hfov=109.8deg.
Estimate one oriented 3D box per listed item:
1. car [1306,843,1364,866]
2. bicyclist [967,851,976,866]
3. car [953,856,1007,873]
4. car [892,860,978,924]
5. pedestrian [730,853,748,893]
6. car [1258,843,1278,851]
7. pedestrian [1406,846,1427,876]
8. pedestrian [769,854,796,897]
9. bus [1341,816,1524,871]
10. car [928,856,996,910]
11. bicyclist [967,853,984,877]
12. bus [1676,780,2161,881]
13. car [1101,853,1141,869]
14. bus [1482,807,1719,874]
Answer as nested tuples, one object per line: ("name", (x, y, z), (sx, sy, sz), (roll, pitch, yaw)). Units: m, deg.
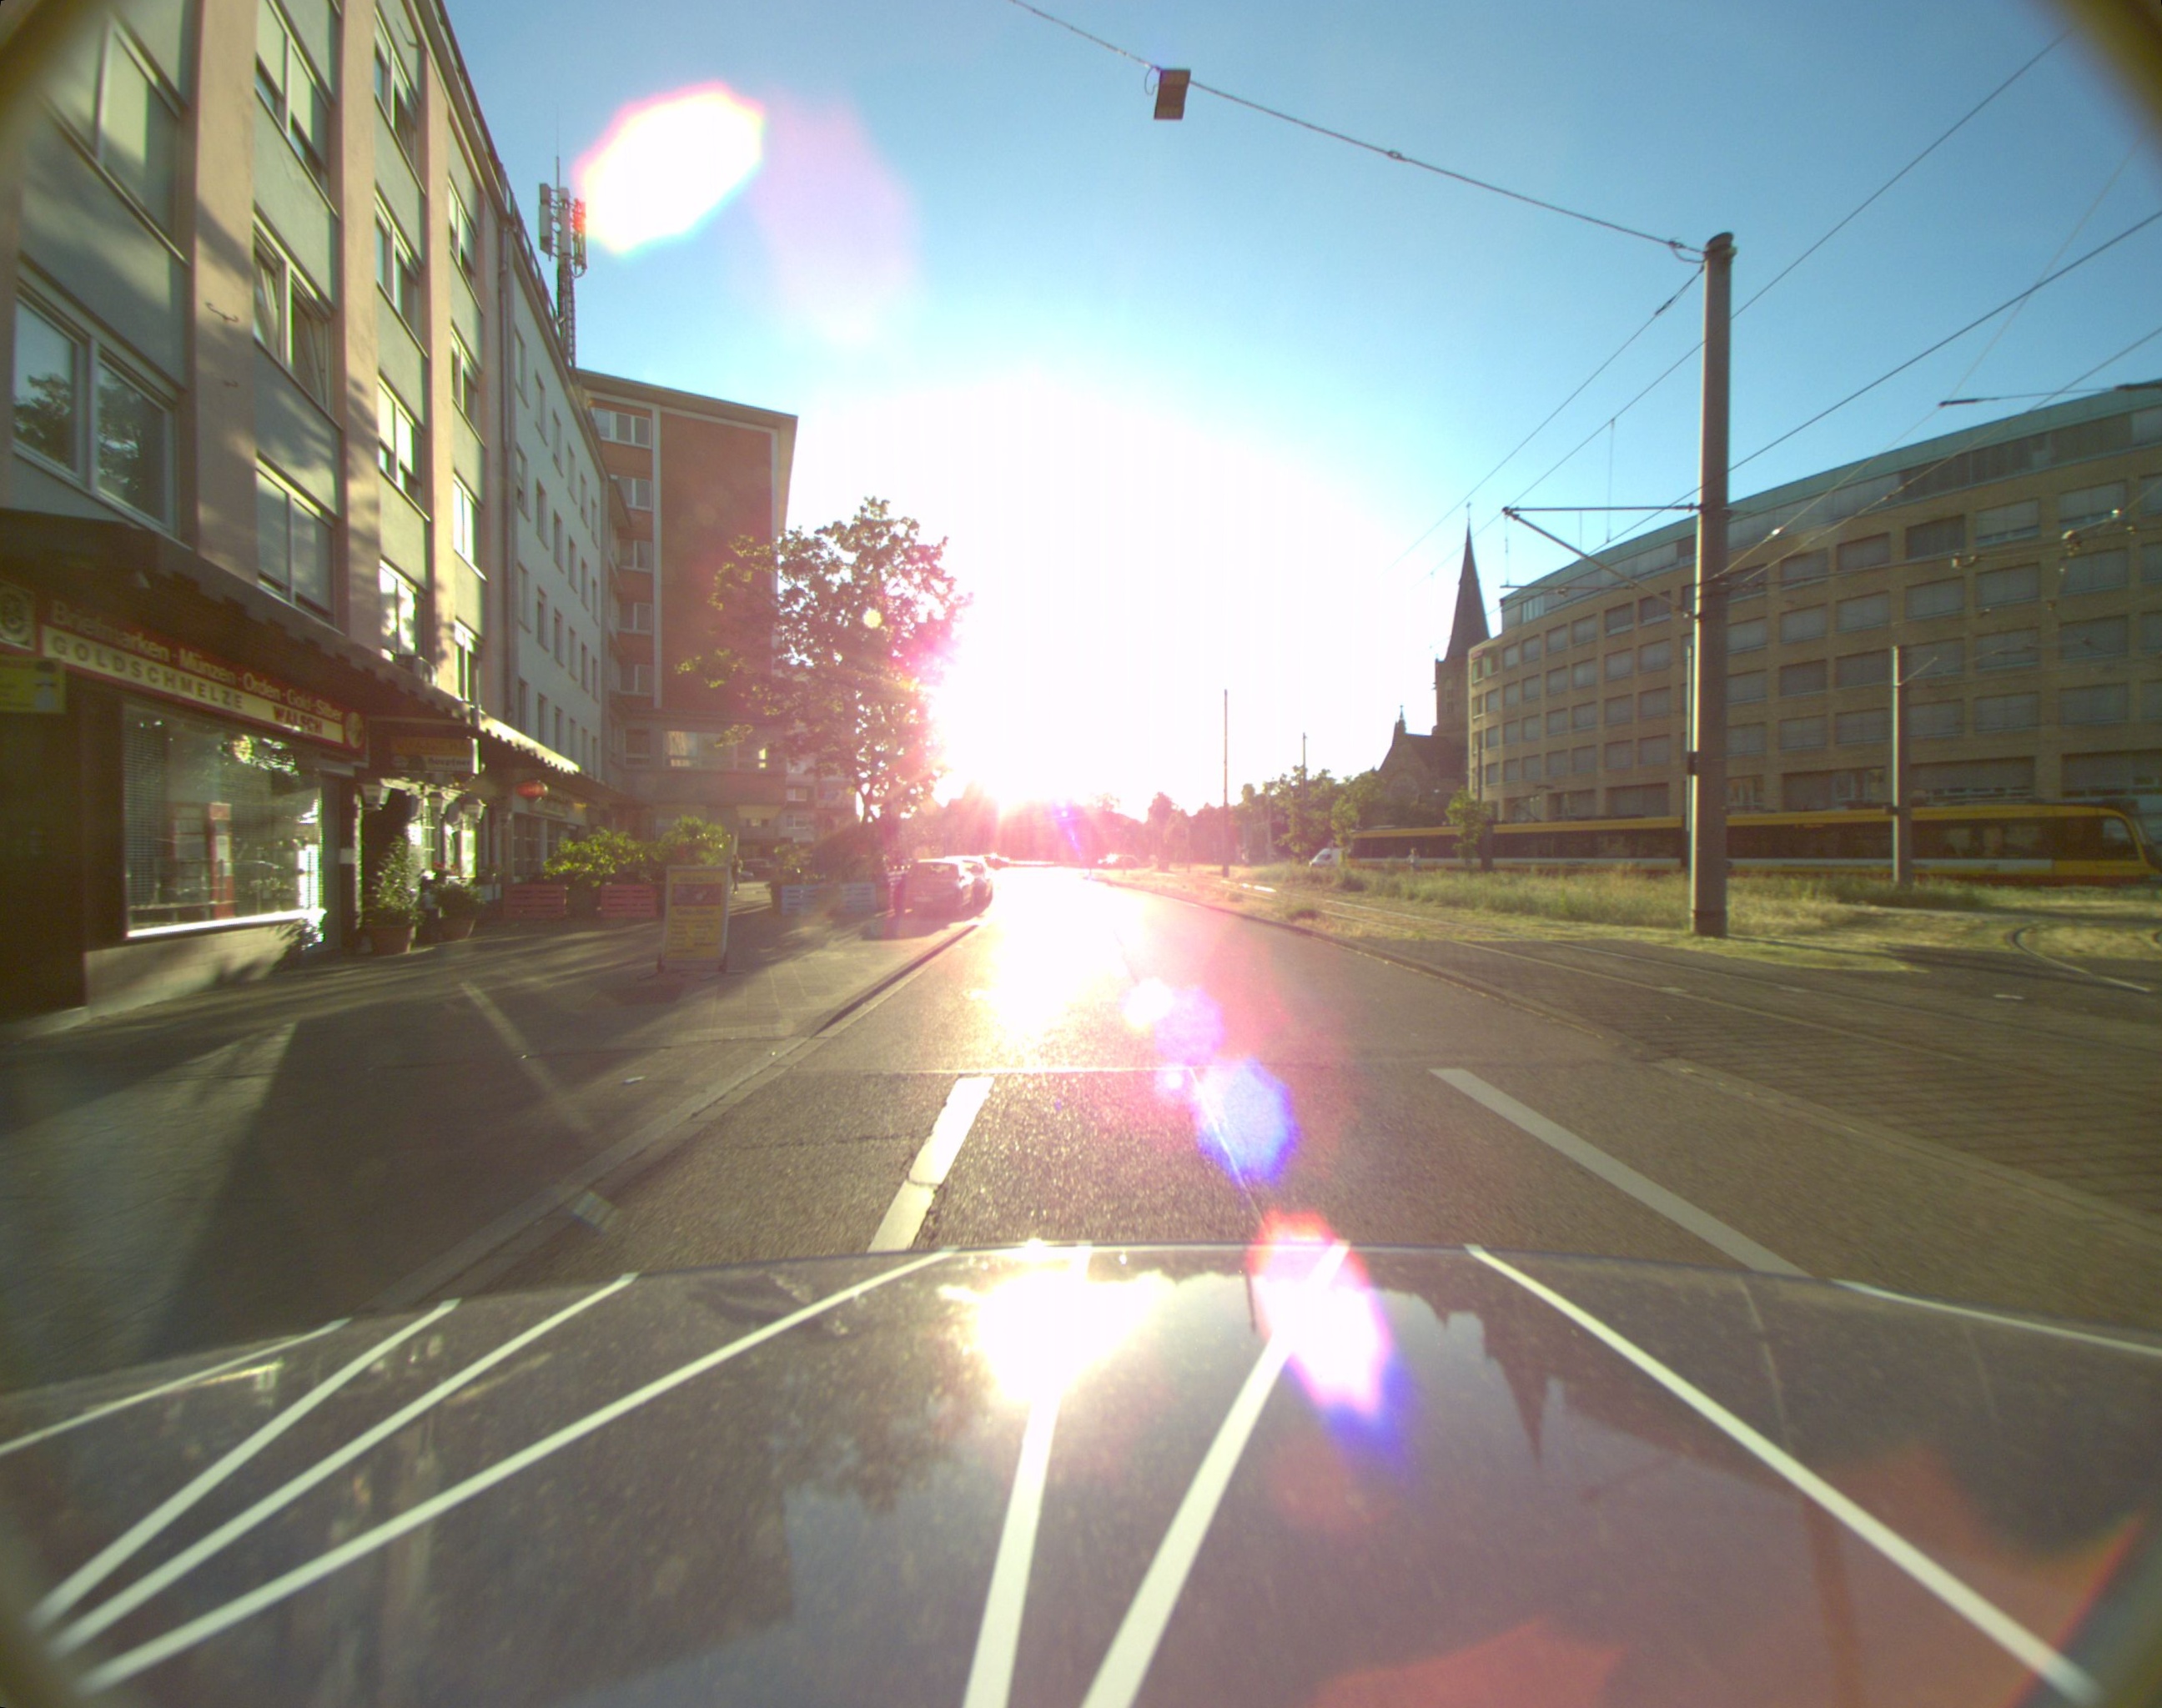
("car", (31.931, 0.032, 95.466), (7.210, 2.861, 2.304), (-1, 0, -22))
("bicyclist", (-11.900, 0.482, 82.600), (0.734, 1.559, 0.822), (-2, 1, -18))
("car", (-9.921, 1.052, 74.463), (5.028, 1.499, 1.723), (-2, 0, -12))
("car", (-3.973, 0.984, 21.259), (1.655, 1.525, 4.066), (-1, 0, -1))
("pedestrian", (-14.957, 0.813, 33.183), (0.657, 1.715, 0.875), (-2, 1, -25))
("car", (43.604, -1.669, 177.064), (4.120, 1.811, 2.004), (-1, 0, 40))
("pedestrian", (16.368, 0.333, 37.106), (0.672, 1.450, 0.699), (-1, 1, -4))
("pedestrian", (-12.124, 0.870, 30.825), (0.896, 1.716, 0.772), (0, 0, -31))
("bus", (24.239, -0.639, 53.618), (3.765, 3.435, 12.108), (-2, 0, -24))
("car", (-4.016, 0.920, 26.322), (1.809, 1.660, 4.811), (-1, 0, -3))
("bicyclist", (-6.689, 0.693, 48.279), (0.799, 1.472, 0.805), (-2, 1, -30))
("bus", (34.134, -0.752, 32.260), (3.766, 3.343, 13.684), (-2, 0, -26))
("car", (4.021, 0.697, 76.427), (3.996, 1.533, 2.000), (-1, 0, 3))
("bus", (28.923, -0.672, 43.253), (3.765, 3.312, 10.715), (-2, 0, -24))
